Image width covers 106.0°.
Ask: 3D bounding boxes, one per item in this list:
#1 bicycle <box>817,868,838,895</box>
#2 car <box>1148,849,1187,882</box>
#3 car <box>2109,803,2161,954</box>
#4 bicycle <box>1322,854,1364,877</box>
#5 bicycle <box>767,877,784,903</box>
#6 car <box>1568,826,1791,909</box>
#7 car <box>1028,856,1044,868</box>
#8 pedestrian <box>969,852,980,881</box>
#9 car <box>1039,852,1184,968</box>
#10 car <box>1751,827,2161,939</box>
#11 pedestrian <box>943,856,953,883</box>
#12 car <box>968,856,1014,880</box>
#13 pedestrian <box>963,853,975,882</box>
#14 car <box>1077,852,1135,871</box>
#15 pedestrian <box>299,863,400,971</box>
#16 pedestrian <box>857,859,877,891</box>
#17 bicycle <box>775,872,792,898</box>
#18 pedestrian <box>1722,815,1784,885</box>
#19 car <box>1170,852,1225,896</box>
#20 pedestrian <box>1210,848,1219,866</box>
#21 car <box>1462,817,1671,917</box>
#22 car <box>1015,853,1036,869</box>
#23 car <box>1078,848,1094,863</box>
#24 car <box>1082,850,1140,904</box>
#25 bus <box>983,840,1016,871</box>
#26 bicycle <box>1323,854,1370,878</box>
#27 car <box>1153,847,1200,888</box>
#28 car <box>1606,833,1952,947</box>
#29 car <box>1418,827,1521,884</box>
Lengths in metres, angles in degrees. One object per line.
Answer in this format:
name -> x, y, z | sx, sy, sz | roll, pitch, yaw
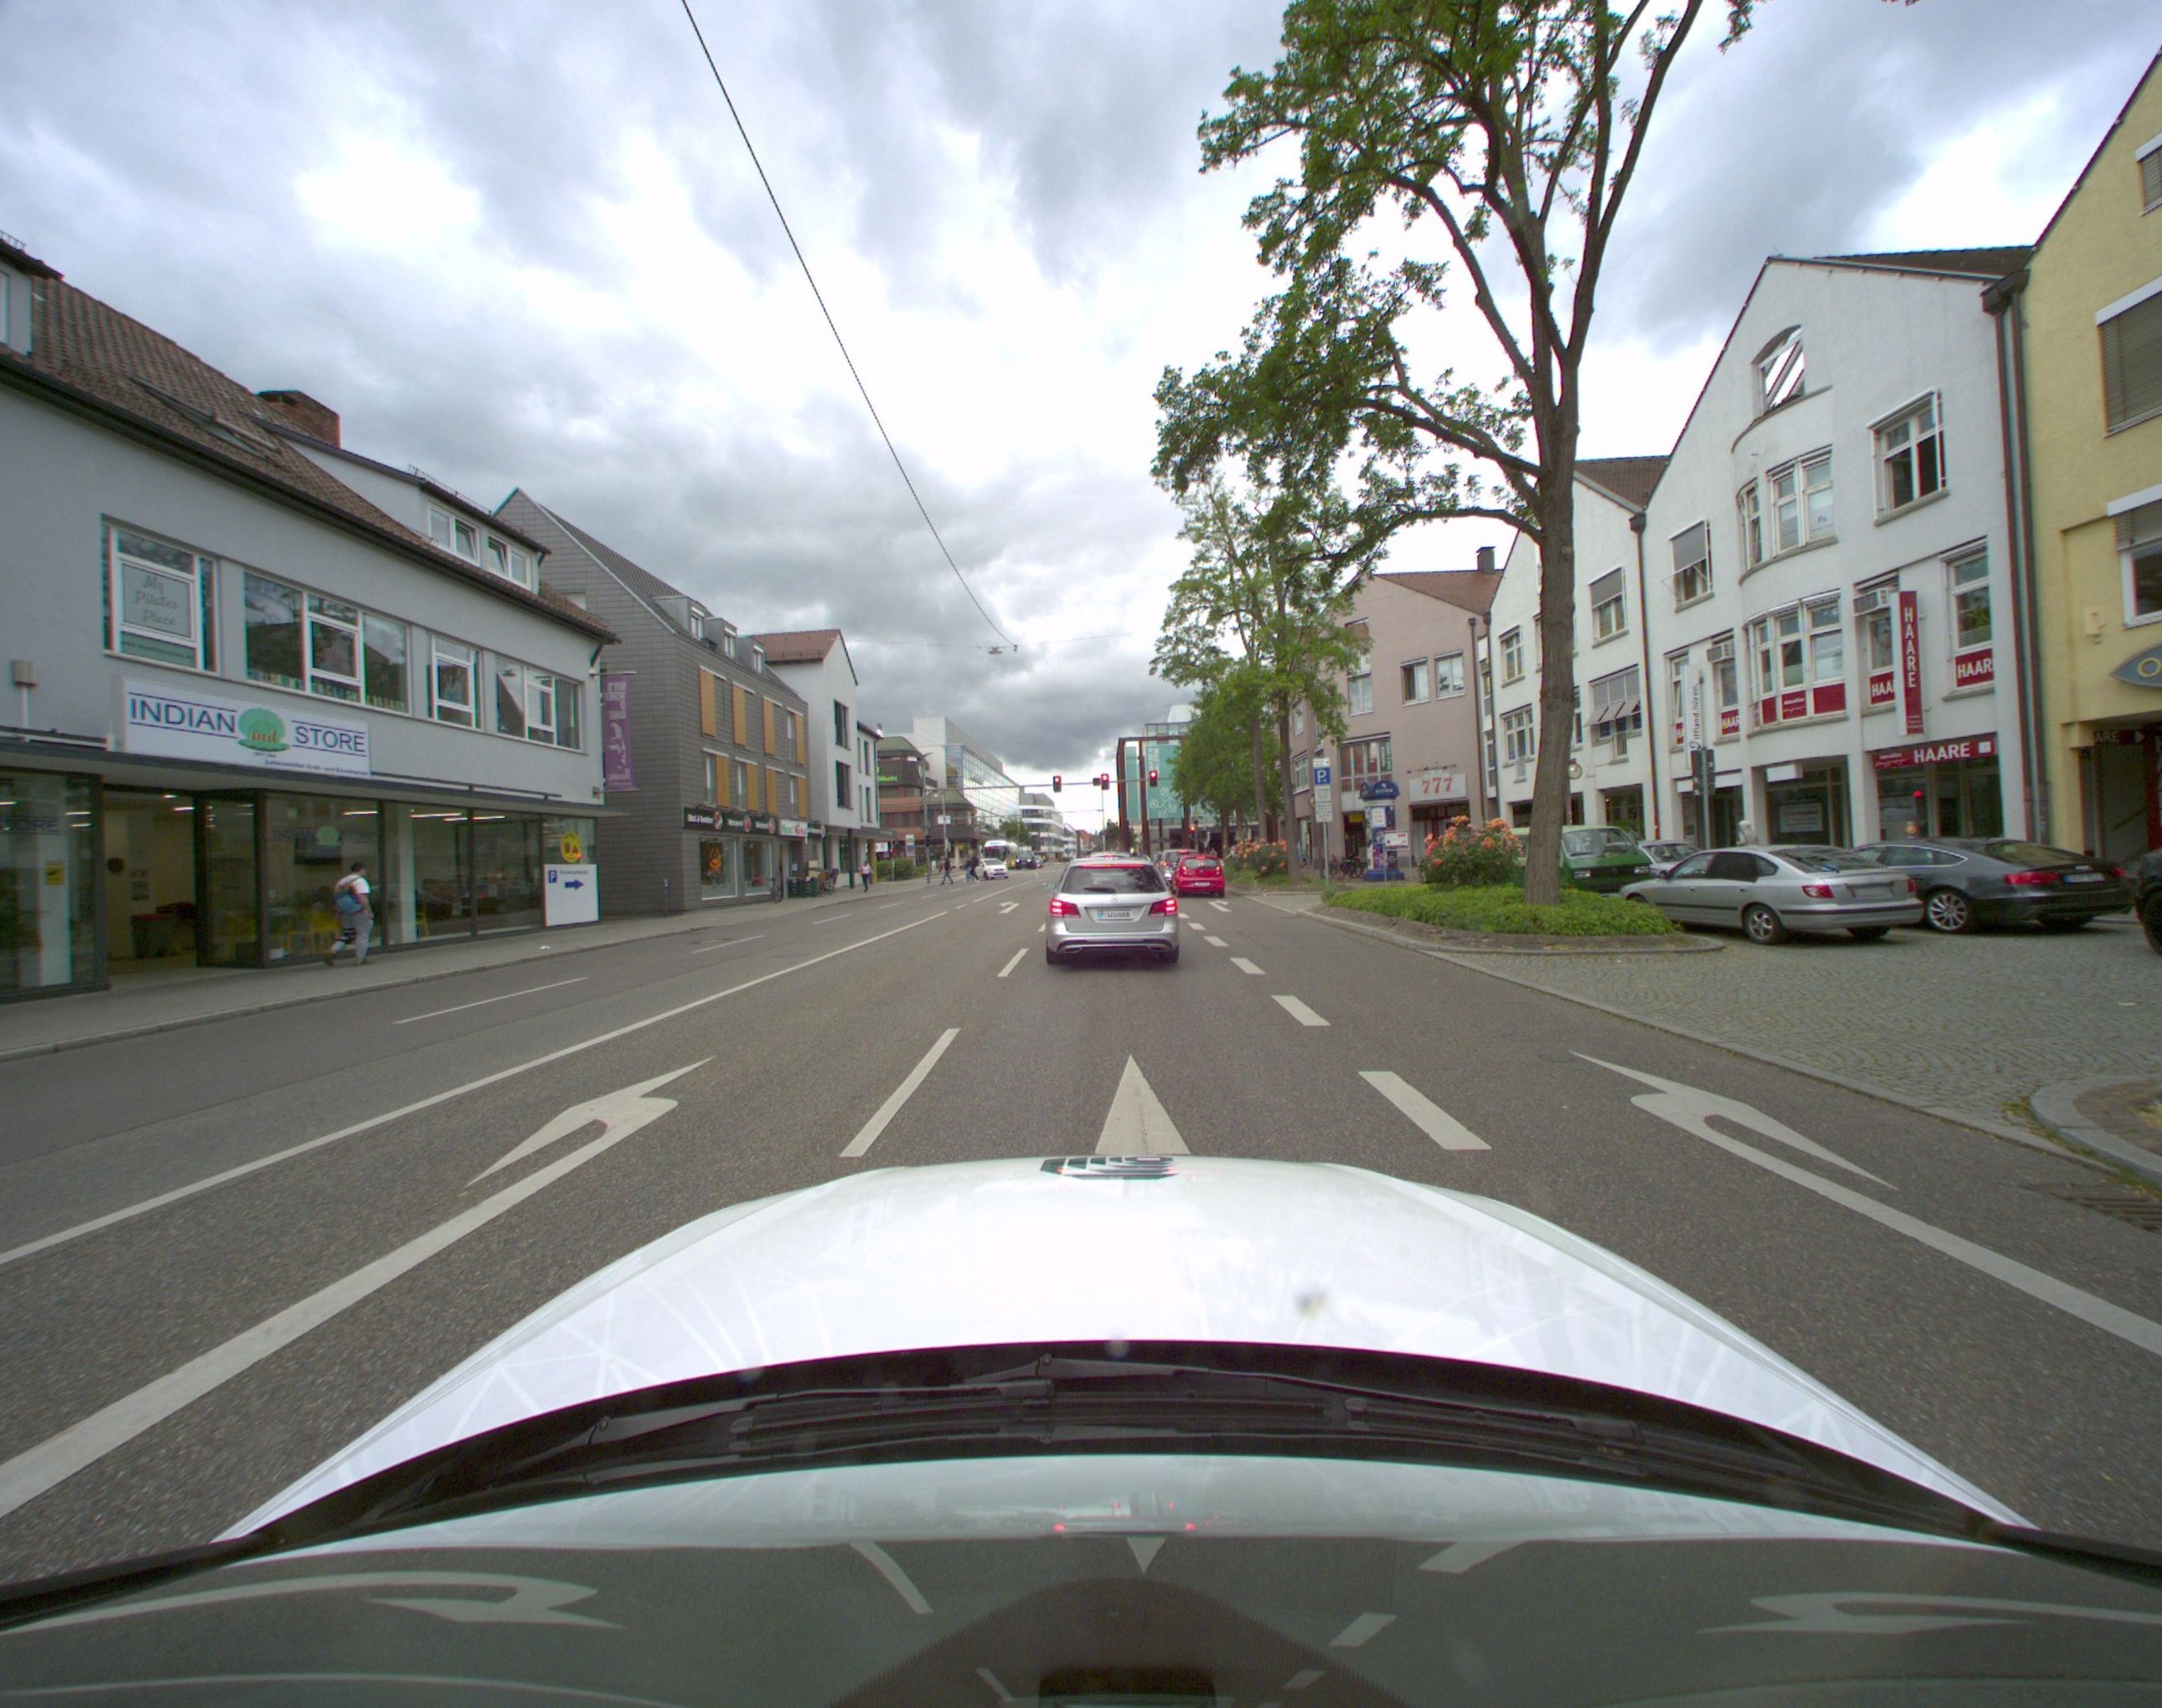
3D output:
bicycle -> -12.083, 1.287, 38.864 | 0.385, 1.186, 1.825 | -2, 0, -1
car -> 4.324, 0.549, 41.113 | 1.581, 1.595, 3.868 | 0, 0, 0
car -> 12.009, 0.280, 7.279 | 1.835, 1.670, 4.693 | -3, 0, 30
bicycle -> 11.889, 0.518, 36.971 | 1.759, 0.997, 0.447 | -2, 0, 6
bicycle -> -11.997, 1.414, 32.000 | 0.325, 0.954, 1.479 | -2, 0, -9
car -> 13.319, 0.268, 18.538 | 1.790, 1.542, 4.394 | -4, 0, 0
car -> -5.337, 0.910, 97.060 | 1.549, 1.392, 3.288 | -2, 0, 1
pedestrian -> -6.697, 0.768, 51.272 | 0.644, 1.775, 0.569 | -2, 0, -9
car -> 0.472, 0.711, 12.430 | 1.808, 1.448, 4.372 | 0, 0, 2
car -> 13.503, 0.380, 12.976 | 1.991, 1.376, 4.419 | -3, 0, 0
pedestrian -> -8.139, 0.939, 49.893 | 0.557, 1.650, 0.651 | -2, 0, -9
car -> -6.212, 0.979, 55.914 | 1.586, 1.488, 3.425 | -3, 0, -37
pedestrian -> -6.902, 0.823, 50.077 | 0.646, 1.790, 0.682 | -2, 0, -9
car -> 2.065, 0.609, 67.273 | 4.695, 1.369, 1.965 | -2, 0, 3
pedestrian -> -12.150, 1.012, 13.568 | 0.751, 1.705, 0.981 | 1, 0, 2
pedestrian -> -10.875, 1.066, 41.334 | 0.725, 1.610, 0.753 | -2, 0, 2
bicycle -> -13.163, 1.364, 36.047 | 0.386, 1.127, 1.286 | -2, 0, -8
pedestrian -> 16.731, -0.106, 20.295 | 0.786, 1.659, 0.819 | -4, 0, 2
car -> 4.053, 0.673, 28.679 | 1.580, 1.443, 3.350 | 0, 0, 2
pedestrian -> 12.645, 0.267, 77.139 | 0.652, 1.650, 0.557 | -2, 0, -13
car -> 10.662, 0.257, 18.369 | 1.874, 1.876, 4.605 | -4, 0, 0
car -> -6.073, 0.776, 89.579 | 1.986, 1.706, 4.065 | -2, 0, 1
car -> 0.673, 0.230, 114.498 | 1.985, 1.949, 4.954 | -2, 0, 3
car -> 0.921, 0.667, 25.112 | 1.633, 1.527, 3.395 | -1, 0, 2
bus -> -9.128, 0.201, 92.335 | 2.677, 3.261, 8.654 | -2, 0, 1
bicycle -> 11.860, 0.542, 36.424 | 1.891, 0.997, 0.468 | -2, 0, 6
car -> 4.030, 0.534, 34.775 | 1.581, 1.634, 3.916 | 0, 0, 0
car -> 10.754, 0.480, 13.094 | 1.757, 1.450, 4.419 | -2, 0, 0
car -> 13.914, 0.050, 29.390 | 1.633, 1.831, 3.964 | -3, 0, -2
